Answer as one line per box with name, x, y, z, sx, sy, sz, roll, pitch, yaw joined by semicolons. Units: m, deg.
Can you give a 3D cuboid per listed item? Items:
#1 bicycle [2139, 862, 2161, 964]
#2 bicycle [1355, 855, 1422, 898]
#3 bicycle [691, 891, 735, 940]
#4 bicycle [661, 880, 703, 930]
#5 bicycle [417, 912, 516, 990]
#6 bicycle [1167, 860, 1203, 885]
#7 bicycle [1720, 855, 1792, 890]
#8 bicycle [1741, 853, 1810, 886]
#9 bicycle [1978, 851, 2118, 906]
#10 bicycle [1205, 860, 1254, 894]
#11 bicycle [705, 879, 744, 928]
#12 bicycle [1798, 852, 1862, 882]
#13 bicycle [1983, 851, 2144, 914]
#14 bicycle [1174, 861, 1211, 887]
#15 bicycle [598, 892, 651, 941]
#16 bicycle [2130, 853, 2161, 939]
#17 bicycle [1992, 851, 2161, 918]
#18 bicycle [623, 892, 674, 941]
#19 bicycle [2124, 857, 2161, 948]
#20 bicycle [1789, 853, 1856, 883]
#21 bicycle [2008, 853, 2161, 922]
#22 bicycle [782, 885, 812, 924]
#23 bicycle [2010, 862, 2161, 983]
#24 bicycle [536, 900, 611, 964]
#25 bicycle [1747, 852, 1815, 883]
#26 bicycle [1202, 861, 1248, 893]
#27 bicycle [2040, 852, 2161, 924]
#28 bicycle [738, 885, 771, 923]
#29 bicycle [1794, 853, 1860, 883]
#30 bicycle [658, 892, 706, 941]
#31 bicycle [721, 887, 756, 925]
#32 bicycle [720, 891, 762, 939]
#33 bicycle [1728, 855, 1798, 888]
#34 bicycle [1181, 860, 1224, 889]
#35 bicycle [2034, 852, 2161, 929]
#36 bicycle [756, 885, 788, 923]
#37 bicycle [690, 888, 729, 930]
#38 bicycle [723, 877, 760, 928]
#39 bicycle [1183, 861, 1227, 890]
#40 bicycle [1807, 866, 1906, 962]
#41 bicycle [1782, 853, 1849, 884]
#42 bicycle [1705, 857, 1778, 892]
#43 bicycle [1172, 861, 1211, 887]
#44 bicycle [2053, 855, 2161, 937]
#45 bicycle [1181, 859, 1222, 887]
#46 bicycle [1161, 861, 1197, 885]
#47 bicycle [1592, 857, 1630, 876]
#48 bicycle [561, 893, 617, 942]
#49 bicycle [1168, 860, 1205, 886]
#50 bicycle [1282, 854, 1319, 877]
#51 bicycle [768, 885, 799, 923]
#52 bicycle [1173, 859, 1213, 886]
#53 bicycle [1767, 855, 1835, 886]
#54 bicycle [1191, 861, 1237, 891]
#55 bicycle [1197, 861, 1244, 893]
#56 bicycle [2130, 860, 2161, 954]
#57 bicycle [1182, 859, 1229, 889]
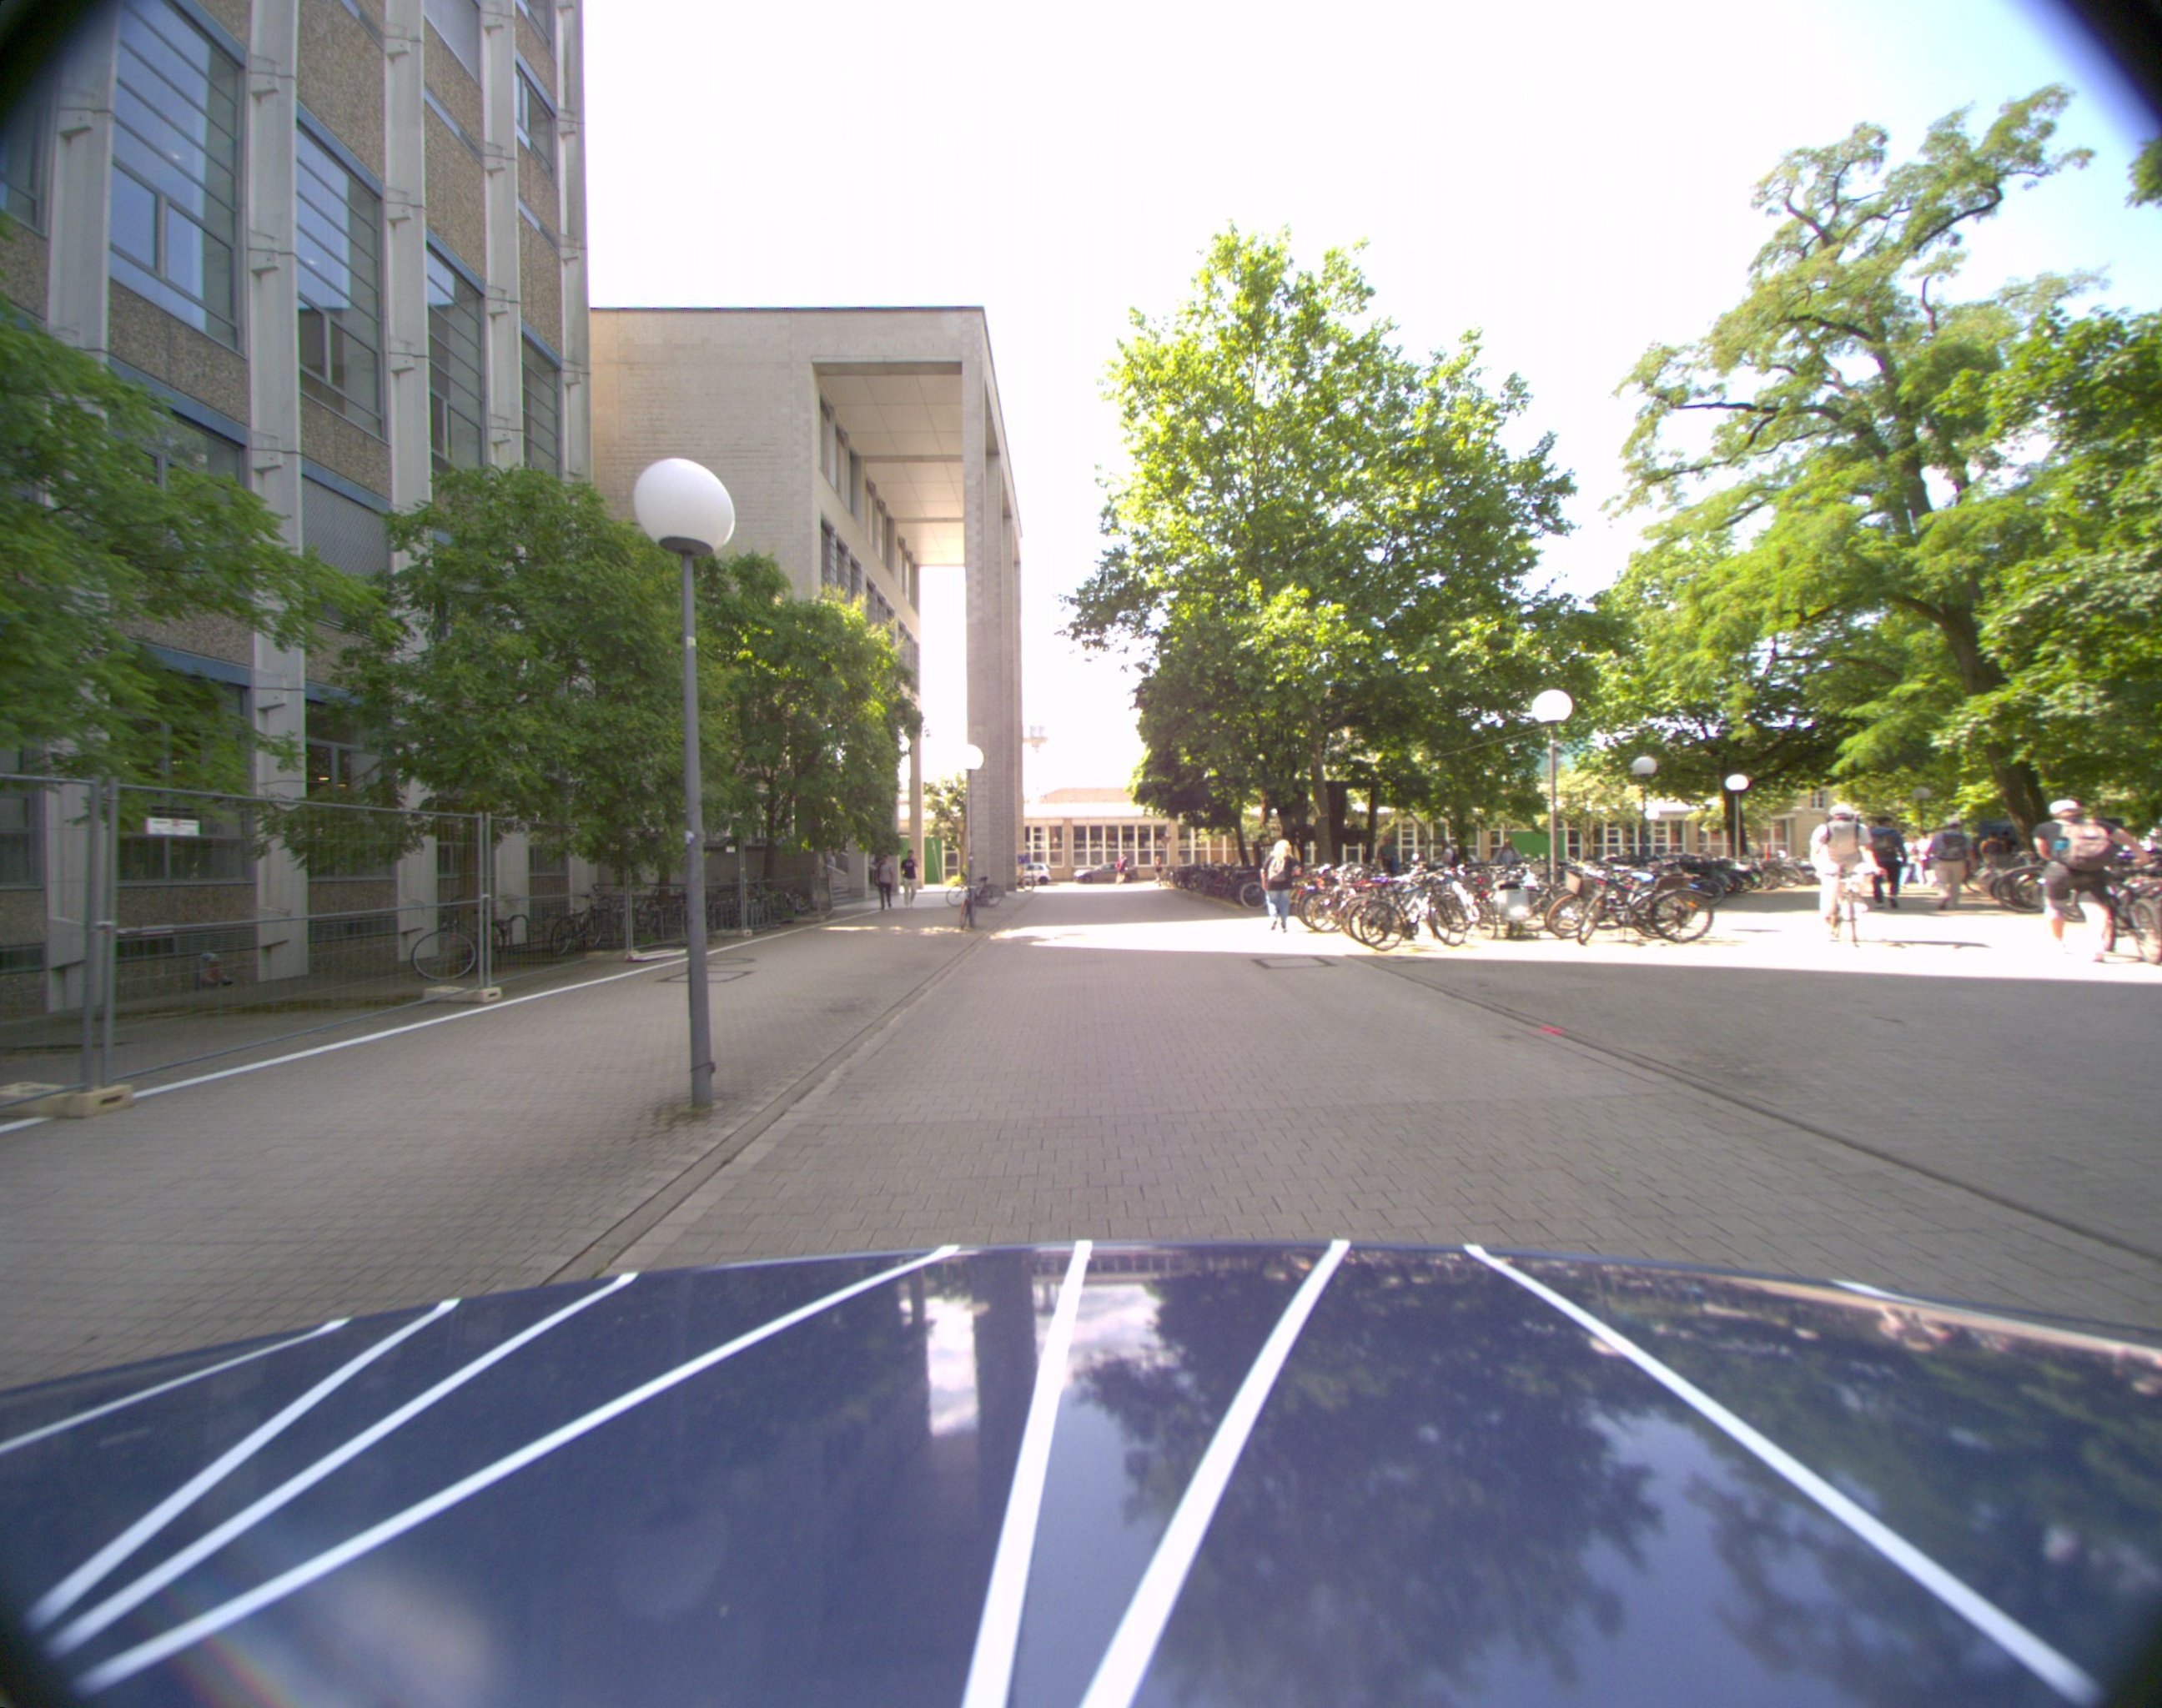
bicycle;12.617;0.636;7.933;1.773;1.104;0.475;-1;1;44
bicycle;8.901;0.645;22.057;0.577;1.193;1.695;-2;1;-40
bicycle;-7.695;1.269;15.941;0.291;0.900;1.447;-1;0;-3
bicycle;-9.455;1.189;18.049;0.291;1.092;1.447;-1;0;-3
bicycle;-8.666;1.335;10.784;0.291;0.900;1.618;-1;0;-8
bicycle;4.845;0.875;35.440;1.628;1.101;0.497;-2;1;5
bicycle;22.035;0.596;24.826;0.475;1.077;1.695;-2;1;-39
bicycle;23.885;0.532;26.160;0.475;1.077;1.695;-2;1;-34
bicycle;20.564;0.509;16.210;1.773;1.104;0.518;-1;1;42
bicycle;5.226;0.822;26.743;1.627;1.137;0.497;-2;1;14
bicycle;-8.460;1.153;18.061;0.291;1.088;1.447;-1;0;-3
bicycle;28.764;0.494;29.211;0.475;1.077;1.696;-2;1;-29
bicycle;18.317;0.512;14.223;1.773;1.104;0.518;-1;1;42
bicycle;5.022;0.888;34.307;1.628;1.101;0.506;-2;1;5
bicycle;-9.479;1.285;15.807;0.291;0.900;1.447;-1;0;-3
bicycle;14.724;0.532;9.525;1.773;1.104;0.475;-1;1;39
bicycle;17.696;0.529;13.568;1.773;1.104;0.518;-1;1;42
bicycle;-8.972;1.280;15.805;0.291;0.900;1.447;-1;0;-3
bicycle;13.908;0.582;8.992;1.773;1.104;0.475;-1;1;39
bicycle;27.560;0.503;28.272;0.475;1.077;1.696;-2;1;-29
bicycle;17.025;0.547;12.755;1.773;1.104;0.518;-1;1;39
bicycle;-7.265;1.269;19.465;0.291;0.900;1.447;-1;0;-3
bicycle;10.845;0.675;8.174;0.473;1.104;1.848;-1;1;31
bicycle;-8.587;1.296;12.920;0.291;0.900;1.804;-1;0;-8
bicycle;24.787;0.474;26.947;0.475;1.077;1.696;-2;1;-29
bicycle;5.295;0.836;27.891;1.627;1.101;0.563;-2;1;14
bicycle;16.607;0.529;11.980;1.773;1.104;0.518;-1;1;39
bicycle;-8.417;1.276;19.625;0.291;0.900;1.447;-1;0;-3
bicycle;27.992;0.505;28.553;0.475;1.077;1.696;-2;1;-29
bicycle;-8.296;1.274;15.849;0.291;0.900;1.447;-1;0;-3
bicycle;-8.826;1.325;19.617;0.291;0.900;1.447;-1;0;-3
bicycle;-7.158;1.266;16.036;0.291;0.900;1.447;-1;0;-3
bicycle;23.040;0.593;25.694;0.475;1.077;1.695;-2;1;-39
bicycle;5.016;0.847;31.486;1.629;1.101;0.645;-2;1;-5
bicycle;15.664;0.530;11.309;1.773;1.104;0.475;-1;1;39
bicycle;-7.955;1.267;19.610;0.291;0.900;1.447;-1;0;-3
bicycle;-8.808;1.293;18.053;0.291;0.882;1.447;-1;0;-3
bicycle;-8.067;1.143;18.113;0.291;1.122;1.447;-1;0;-3
bicycle;4.938;0.845;30.355;1.629;1.101;0.497;-2;1;-5
bicycle;10.025;0.728;9.878;0.602;1.077;1.703;-1;1;35
bicycle;26.887;0.525;27.828;0.475;1.077;1.696;-2;1;-29
bicycle;21.137;0.635;24.344;0.475;1.077;1.695;-2;1;-39
bicycle;4.906;0.867;33.759;1.628;1.101;0.497;-2;1;5
bicycle;14.954;0.579;10.527;1.773;1.104;0.475;-1;1;39
bicycle;5.117;0.791;32.254;1.628;1.144;0.497;-2;1;0
bicycle;4.644;0.892;36.010;1.628;1.101;0.497;-2;1;5
bicycle;32.207;0.758;46.206;1.829;1.102;0.605;0;2;2
bicycle;-10.223;1.306;15.821;0.291;0.900;1.447;-1;0;-3
bicycle;4.847;0.872;34.876;1.628;1.101;0.629;-2;1;4
bicycle;11.427;0.600;39.555;1.839;1.101;0.393;-2;1;-6
bicycle;-7.604;1.262;19.474;0.291;0.900;1.447;-1;0;-3
bicycle;4.864;0.807;33.037;1.628;1.101;0.691;-2;1;5
bicycle;25.787;0.576;27.243;0.475;1.077;1.696;-2;1;-29
bicycle;5.144;0.835;29.395;1.724;1.101;0.719;-2;1;11
bicycle;5.019;0.836;27.354;1.627;1.101;0.497;-2;1;14
bicycle;13.482;0.619;8.631;1.773;1.104;0.475;-1;1;44
bicycle;5.063;0.798;30.850;1.784;1.155;0.497;-2;1;-5
